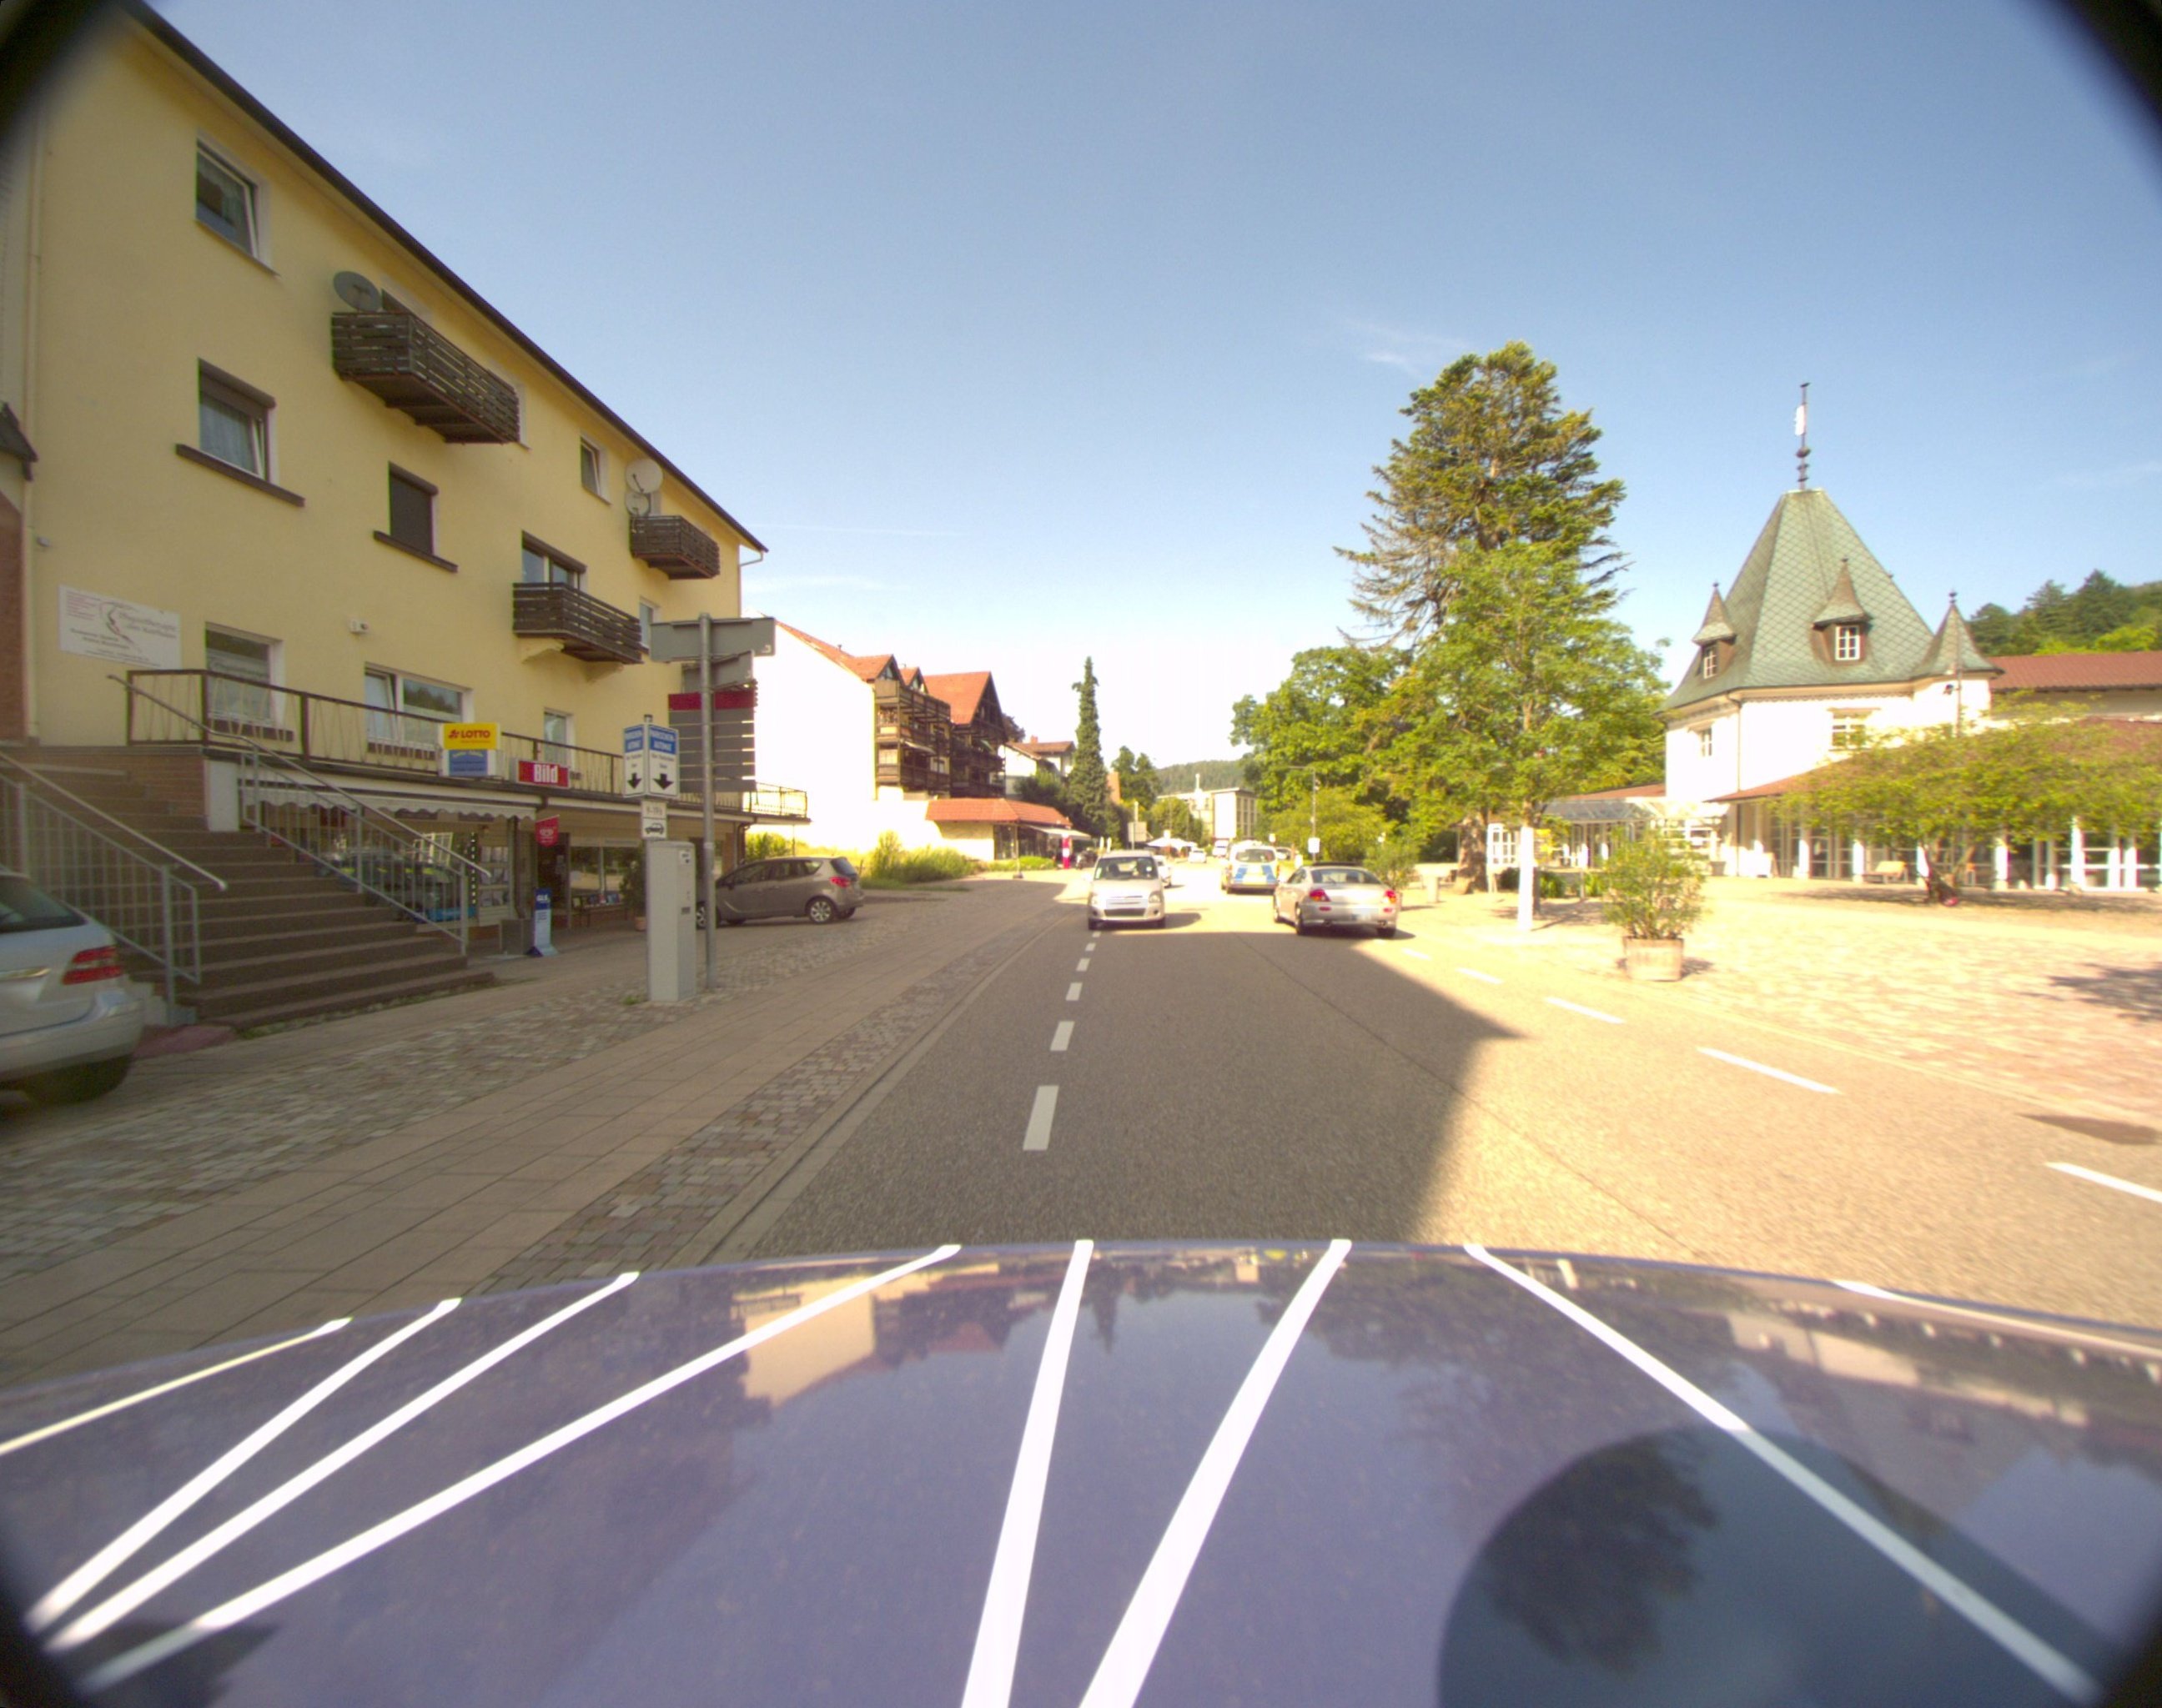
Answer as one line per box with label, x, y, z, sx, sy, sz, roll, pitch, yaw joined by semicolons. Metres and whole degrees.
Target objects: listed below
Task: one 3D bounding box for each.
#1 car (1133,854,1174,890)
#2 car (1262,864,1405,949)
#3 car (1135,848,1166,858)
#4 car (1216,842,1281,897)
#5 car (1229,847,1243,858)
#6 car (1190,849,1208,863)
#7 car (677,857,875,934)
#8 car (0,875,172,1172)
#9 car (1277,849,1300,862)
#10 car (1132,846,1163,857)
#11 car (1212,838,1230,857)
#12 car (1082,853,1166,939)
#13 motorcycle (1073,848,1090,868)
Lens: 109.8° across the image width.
car;3.334;0.783;34.627;1.739;1.488;3.931;-1;0;6
car;4.862;0.932;15.212;1.631;1.362;4.064;1;0;2
car;10.117;-0.115;110.329;4.268;1.371;1.711;1;2;15
car;6.471;0.530;29.840;1.858;1.942;5.019;1;1;6
car;21.997;-0.260;108.210;1.744;1.454;4.189;2;2;9
car;13.121;0.221;84.543;1.653;1.462;4.004;-2;0;12
car;-7.091;0.937;17.924;3.869;1.545;1.760;-3;0;1
car;-7.817;1.019;4.062;3.918;1.580;1.775;-3;0;4
car;26.106;0.131;95.627;2.654;1.538;1.684;-2;1;20
car;9.451;-0.358;108.543;4.114;1.407;1.750;1;1;15
car;21.673;-1.028;117.378;1.786;2.775;5.921;-2;0;20
car;1.009;0.825;16.927;1.604;1.628;4.001;-2;0;5
motorcycle;0.044;0.287;51.988;0.698;1.289;2.213;3;1;10
